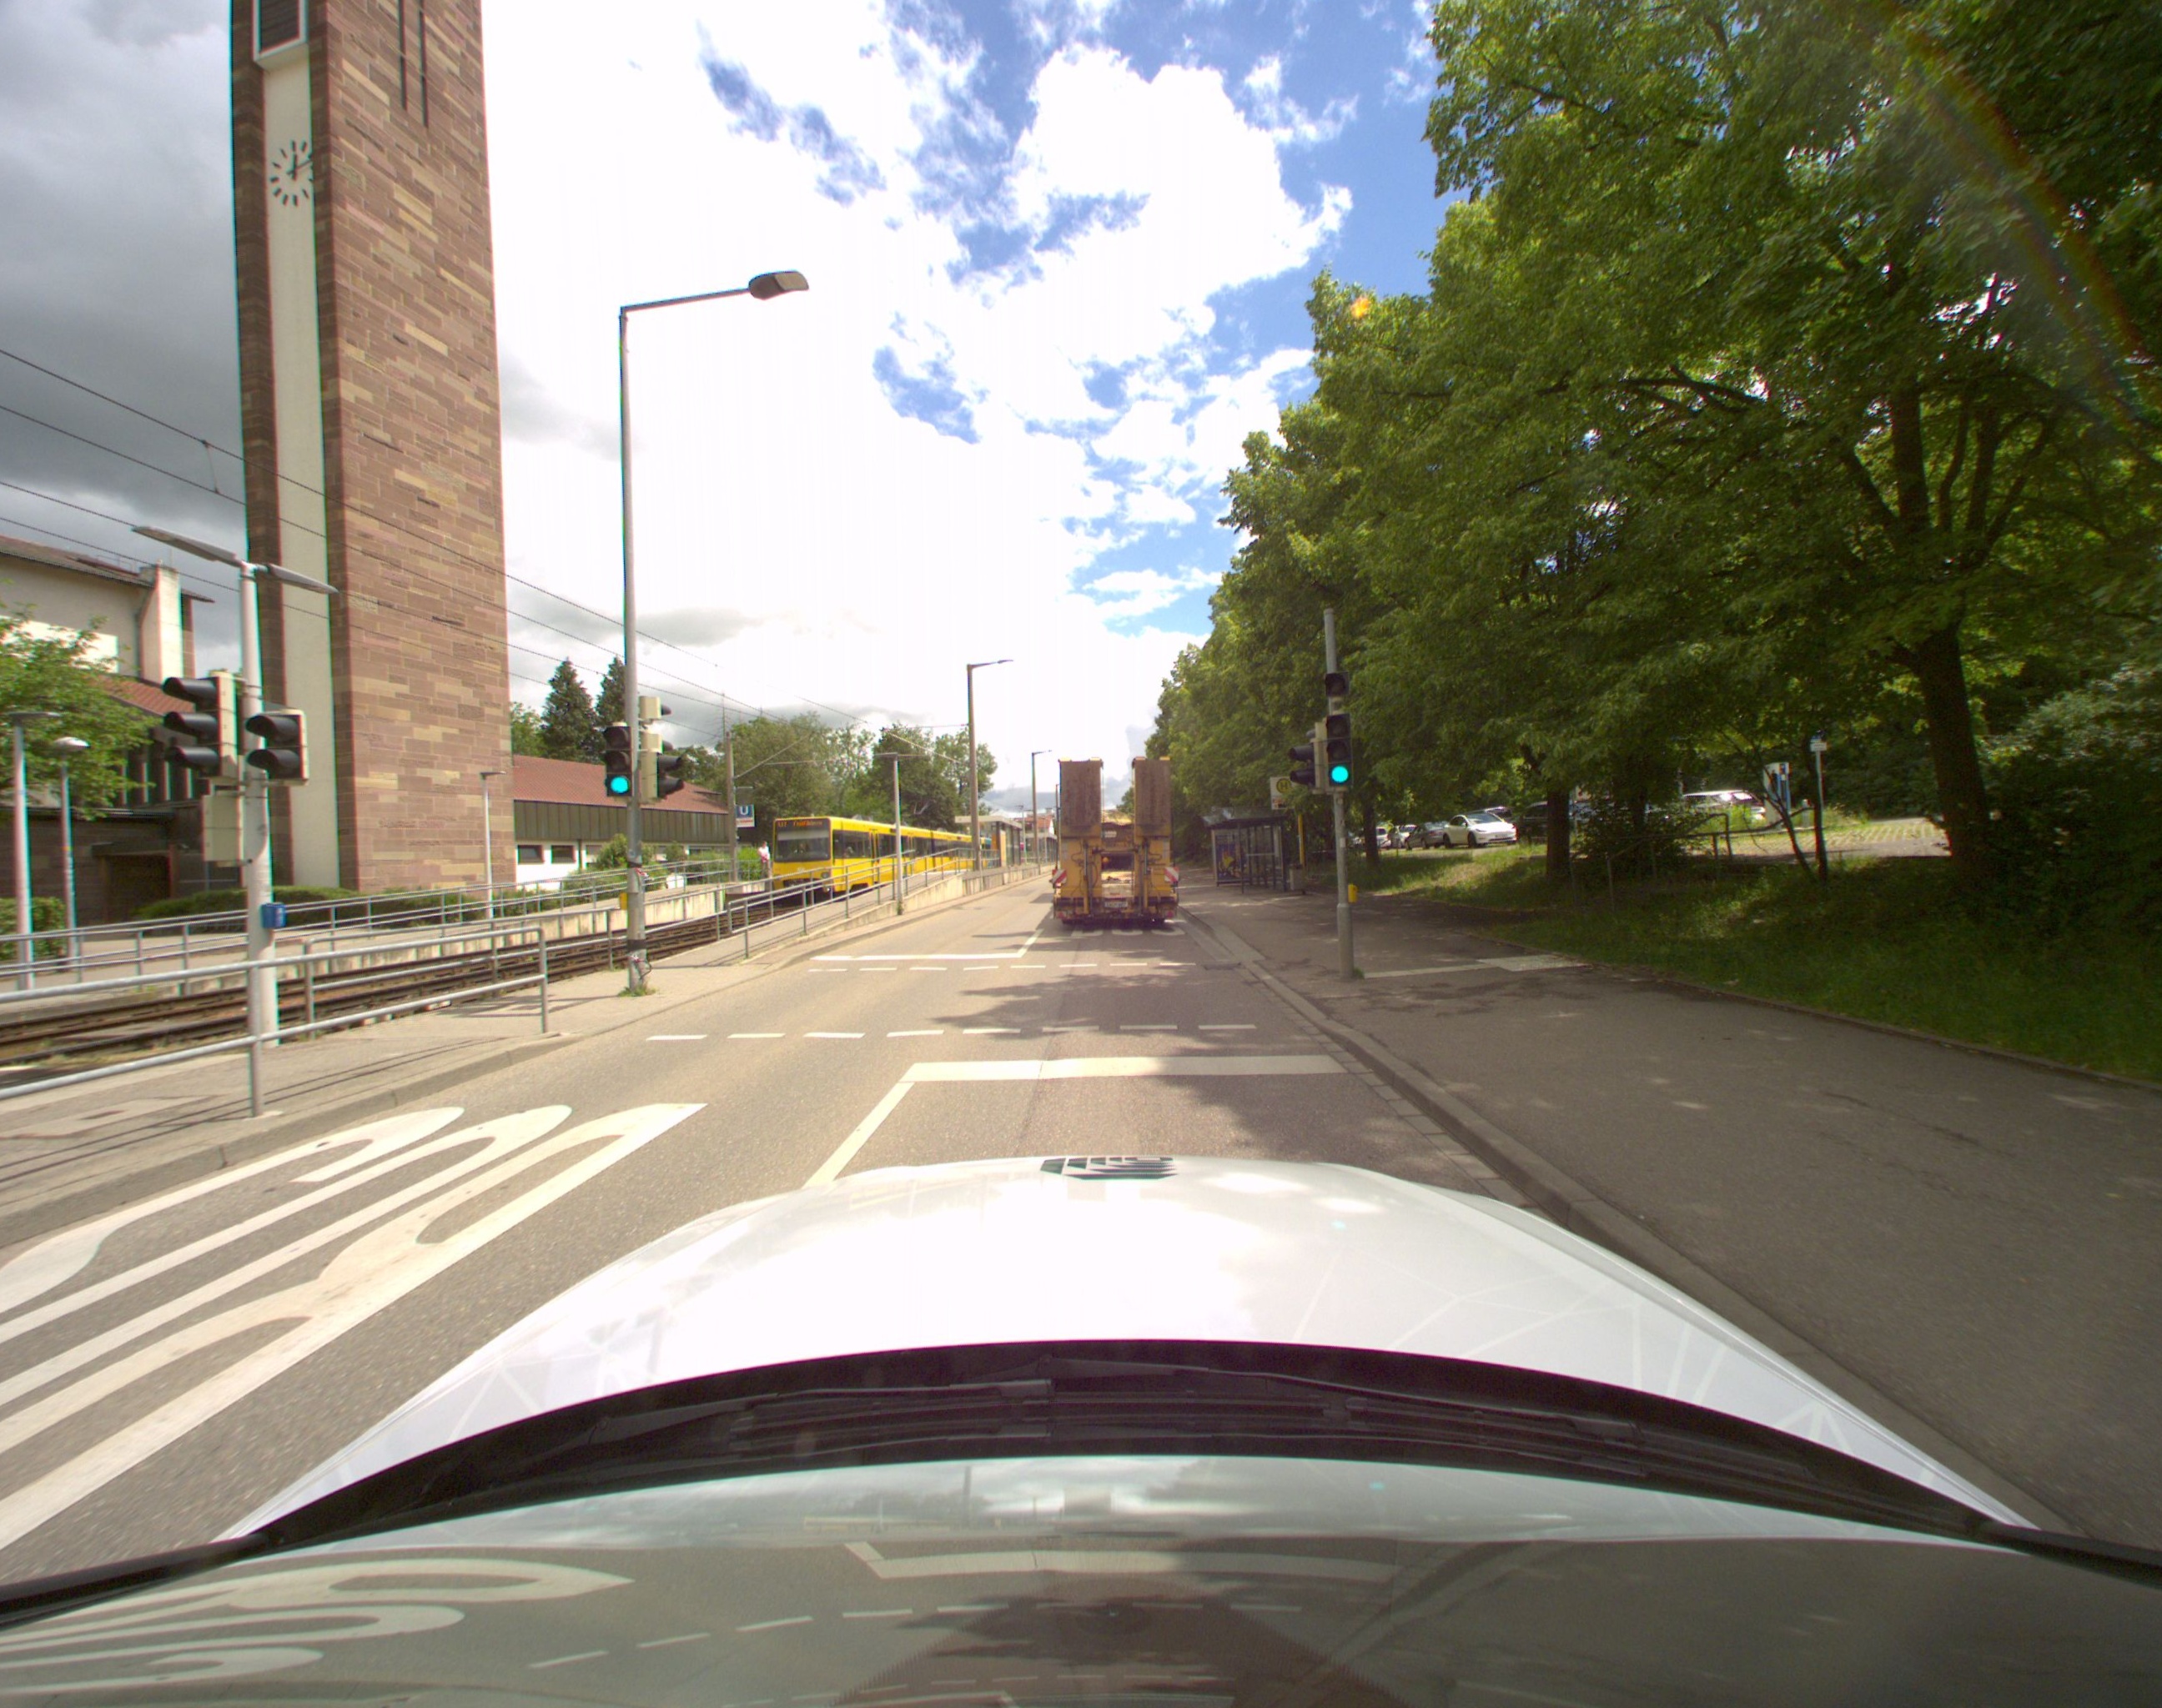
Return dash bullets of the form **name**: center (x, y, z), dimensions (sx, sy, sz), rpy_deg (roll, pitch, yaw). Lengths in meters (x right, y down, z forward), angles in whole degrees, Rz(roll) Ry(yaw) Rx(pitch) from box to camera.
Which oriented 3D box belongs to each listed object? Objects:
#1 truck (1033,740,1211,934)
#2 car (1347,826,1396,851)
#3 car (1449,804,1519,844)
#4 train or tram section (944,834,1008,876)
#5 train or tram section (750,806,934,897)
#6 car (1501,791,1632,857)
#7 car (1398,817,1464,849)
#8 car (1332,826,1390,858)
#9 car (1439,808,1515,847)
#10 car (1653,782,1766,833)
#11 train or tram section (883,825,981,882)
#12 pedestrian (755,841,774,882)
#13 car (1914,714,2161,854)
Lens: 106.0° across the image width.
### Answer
- **truck**: center (0.750, -0.311, 23.073), dimensions (3.392, 3.732, 13.733), rpy_deg (-2, 0, -1)
- **car**: center (19.313, -1.005, 54.302), dimensions (1.834, 1.420, 4.125), rpy_deg (-5, 0, 2)
- **car**: center (21.327, -1.537, 43.297), dimensions (1.607, 1.790, 4.209), rpy_deg (-6, -1, 2)
- **train or tram section**: center (-9.756, 0.121, 78.708), dimensions (3.096, 3.465, 19.204), rpy_deg (-1, 0, 2)
- **train or tram section**: center (-10.877, -0.063, 40.697), dimensions (3.096, 3.465, 18.832), rpy_deg (-1, 0, 2)
- **car**: center (15.895, -0.914, 26.952), dimensions (1.682, 1.694, 4.261), rpy_deg (-6, -2, 0)
- **car**: center (18.347, -1.063, 42.864), dimensions (1.607, 1.442, 4.354), rpy_deg (-5, 0, 2)
- **car**: center (16.188, -0.647, 47.378), dimensions (1.839, 1.662, 4.726), rpy_deg (-2, 0, 2)
- **car**: center (18.240, -1.183, 37.748), dimensions (1.463, 1.555, 4.436), rpy_deg (-6, 0, 4)
- **car**: center (20.569, -1.489, 26.789), dimensions (1.403, 1.303, 2.859), rpy_deg (-6, -2, 0)
- **train or tram section**: center (-10.331, 0.029, 59.606), dimensions (3.096, 3.465, 19.002), rpy_deg (-1, 0, 2)
- **pedestrian**: center (-13.972, 0.333, 35.955), dimensions (0.582, 1.778, 0.576), rpy_deg (-1, -1, 1)
- **car**: center (12.667, -0.847, 9.497), dimensions (1.621, 1.514, 4.140), rpy_deg (-6, 0, 2)
